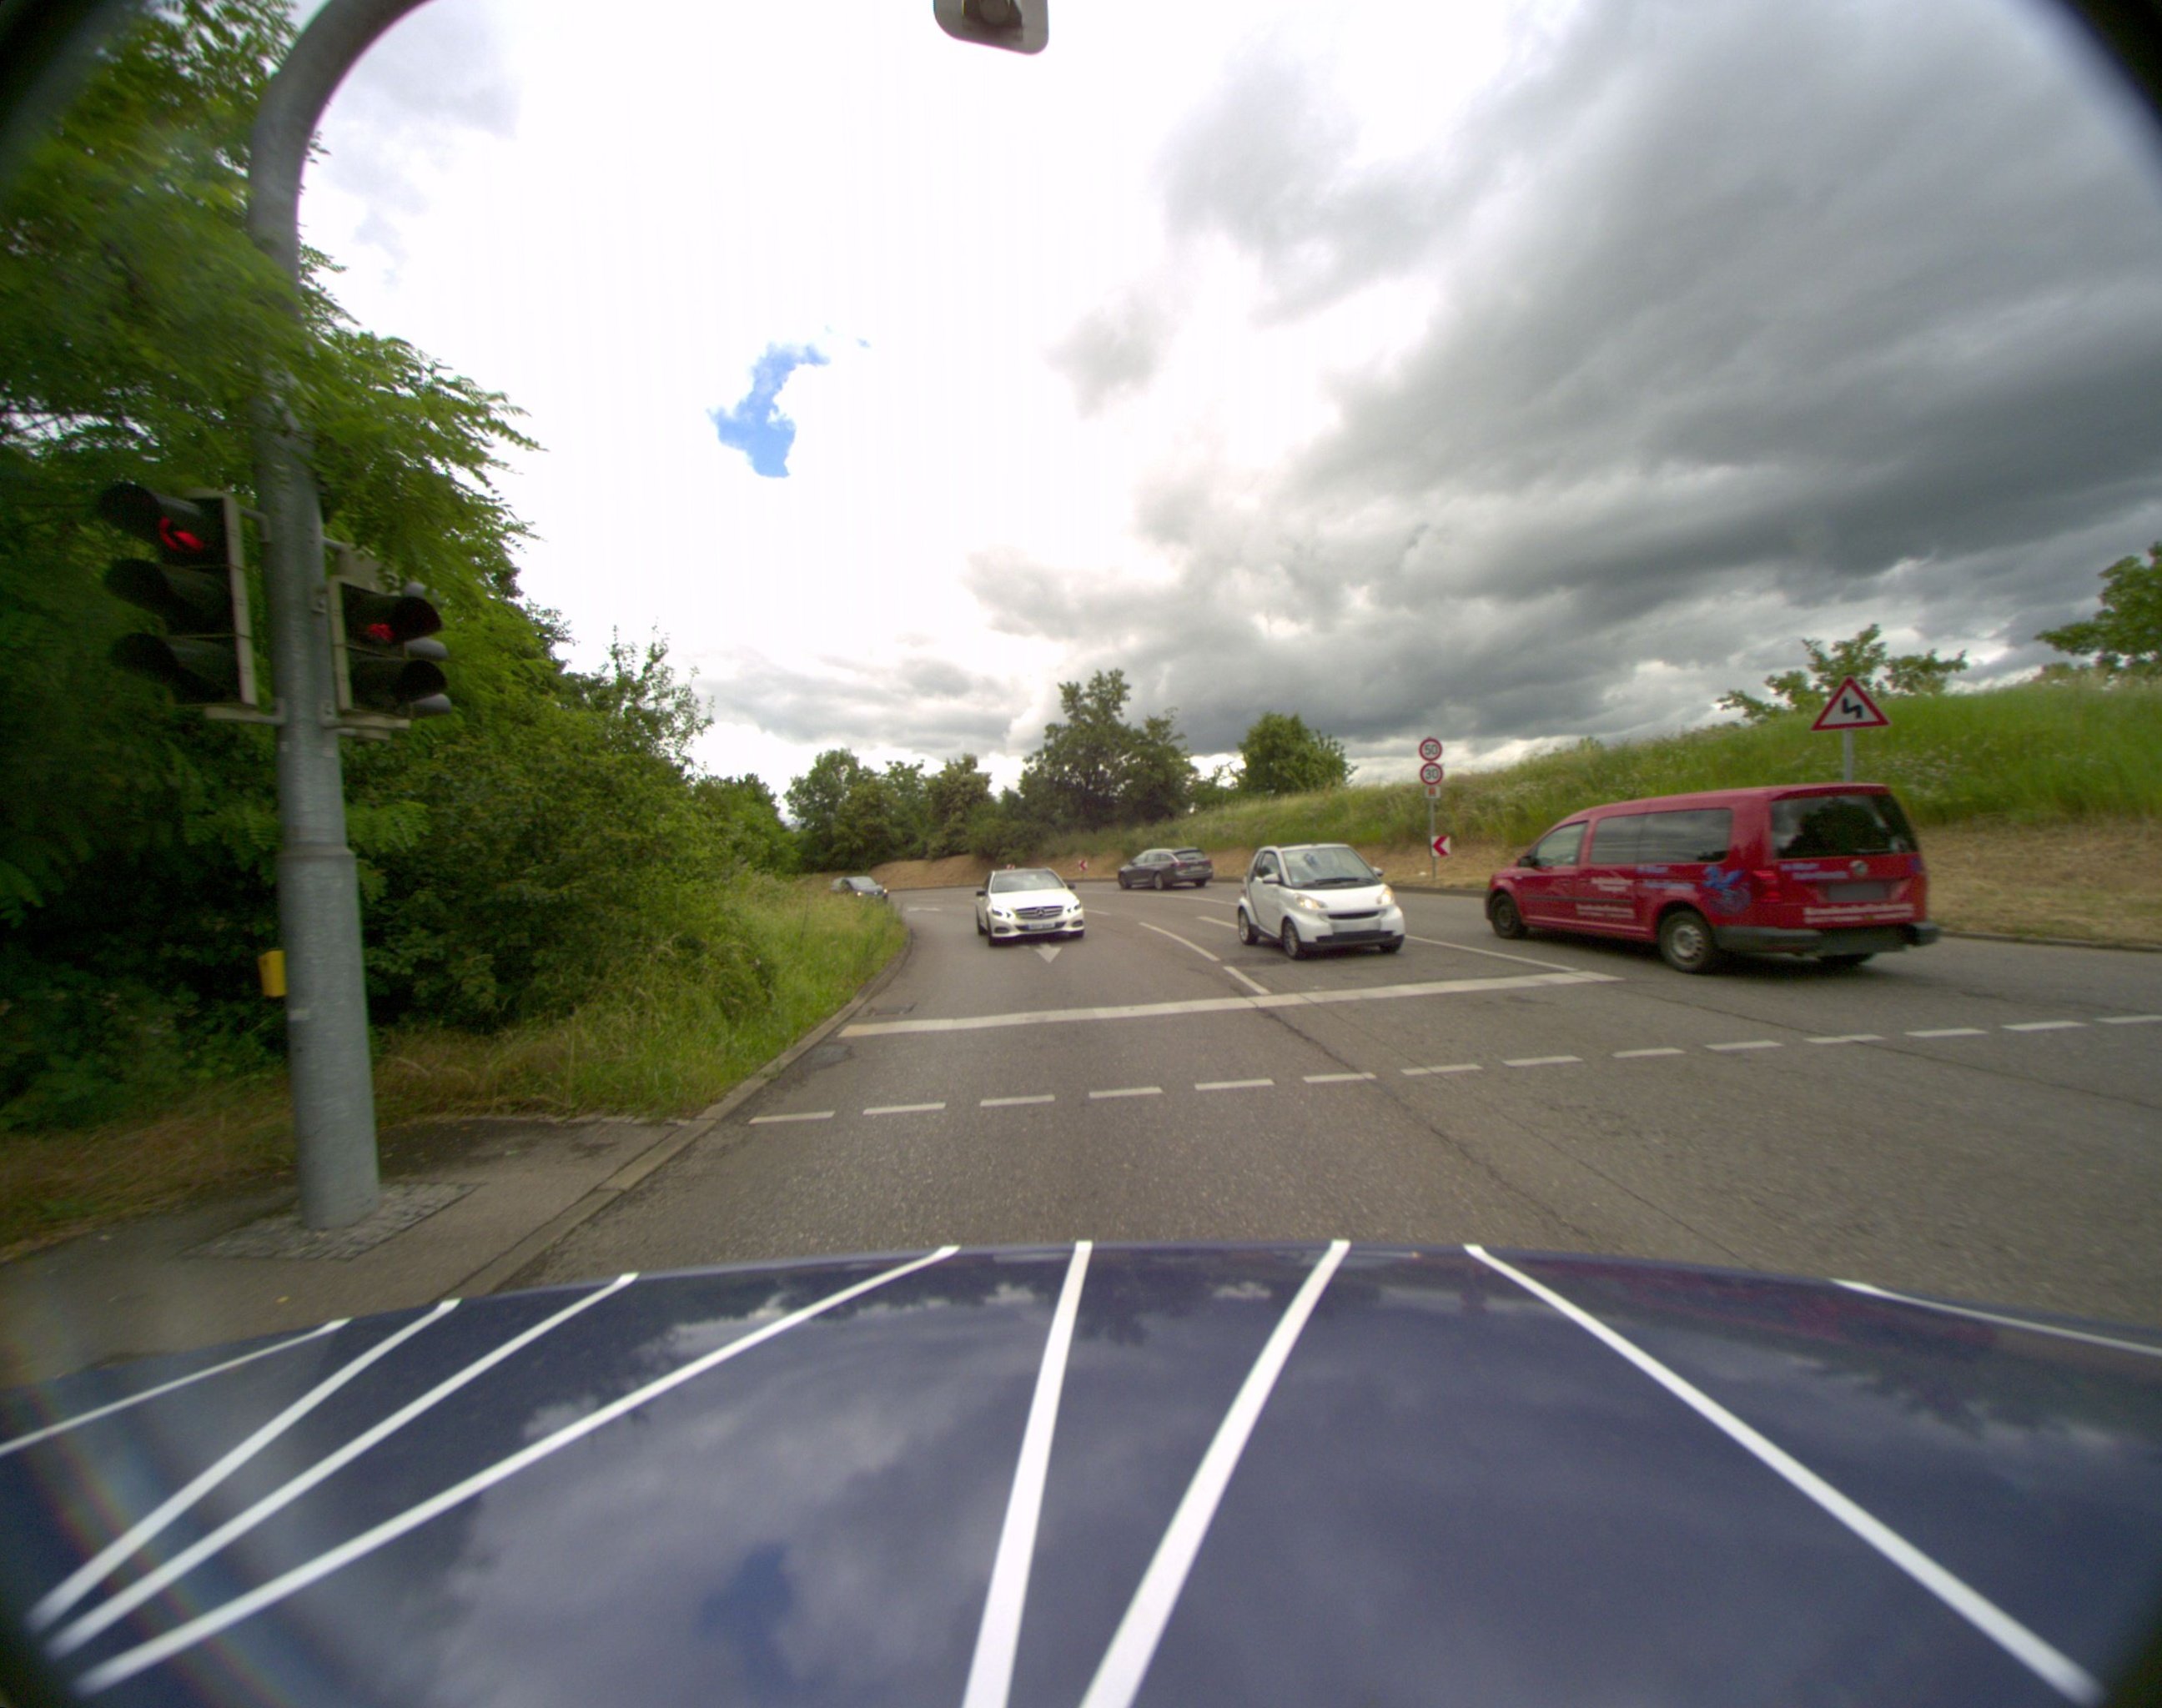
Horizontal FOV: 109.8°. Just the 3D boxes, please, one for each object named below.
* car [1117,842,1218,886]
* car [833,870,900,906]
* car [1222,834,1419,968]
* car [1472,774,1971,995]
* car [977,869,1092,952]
[{"bbox_3d":[3.105,0.371,28.226,1.772,1.412,4.413,-4,1,-22],"label":"car"},{"bbox_3d":[-10.869,1.748,38.374,1.827,1.535,3.718,-5,-1,-38],"label":"car"},{"bbox_3d":[3.314,0.591,11.093,1.580,1.548,3.015,-5,1,-6],"label":"car"},{"bbox_3d":[6.722,0.246,8.878,1.692,1.815,4.724,-3,1,-2],"label":"car"},{"bbox_3d":[-1.115,1.090,15.972,1.889,1.414,3.997,-3,-1,-10],"label":"car"}]
